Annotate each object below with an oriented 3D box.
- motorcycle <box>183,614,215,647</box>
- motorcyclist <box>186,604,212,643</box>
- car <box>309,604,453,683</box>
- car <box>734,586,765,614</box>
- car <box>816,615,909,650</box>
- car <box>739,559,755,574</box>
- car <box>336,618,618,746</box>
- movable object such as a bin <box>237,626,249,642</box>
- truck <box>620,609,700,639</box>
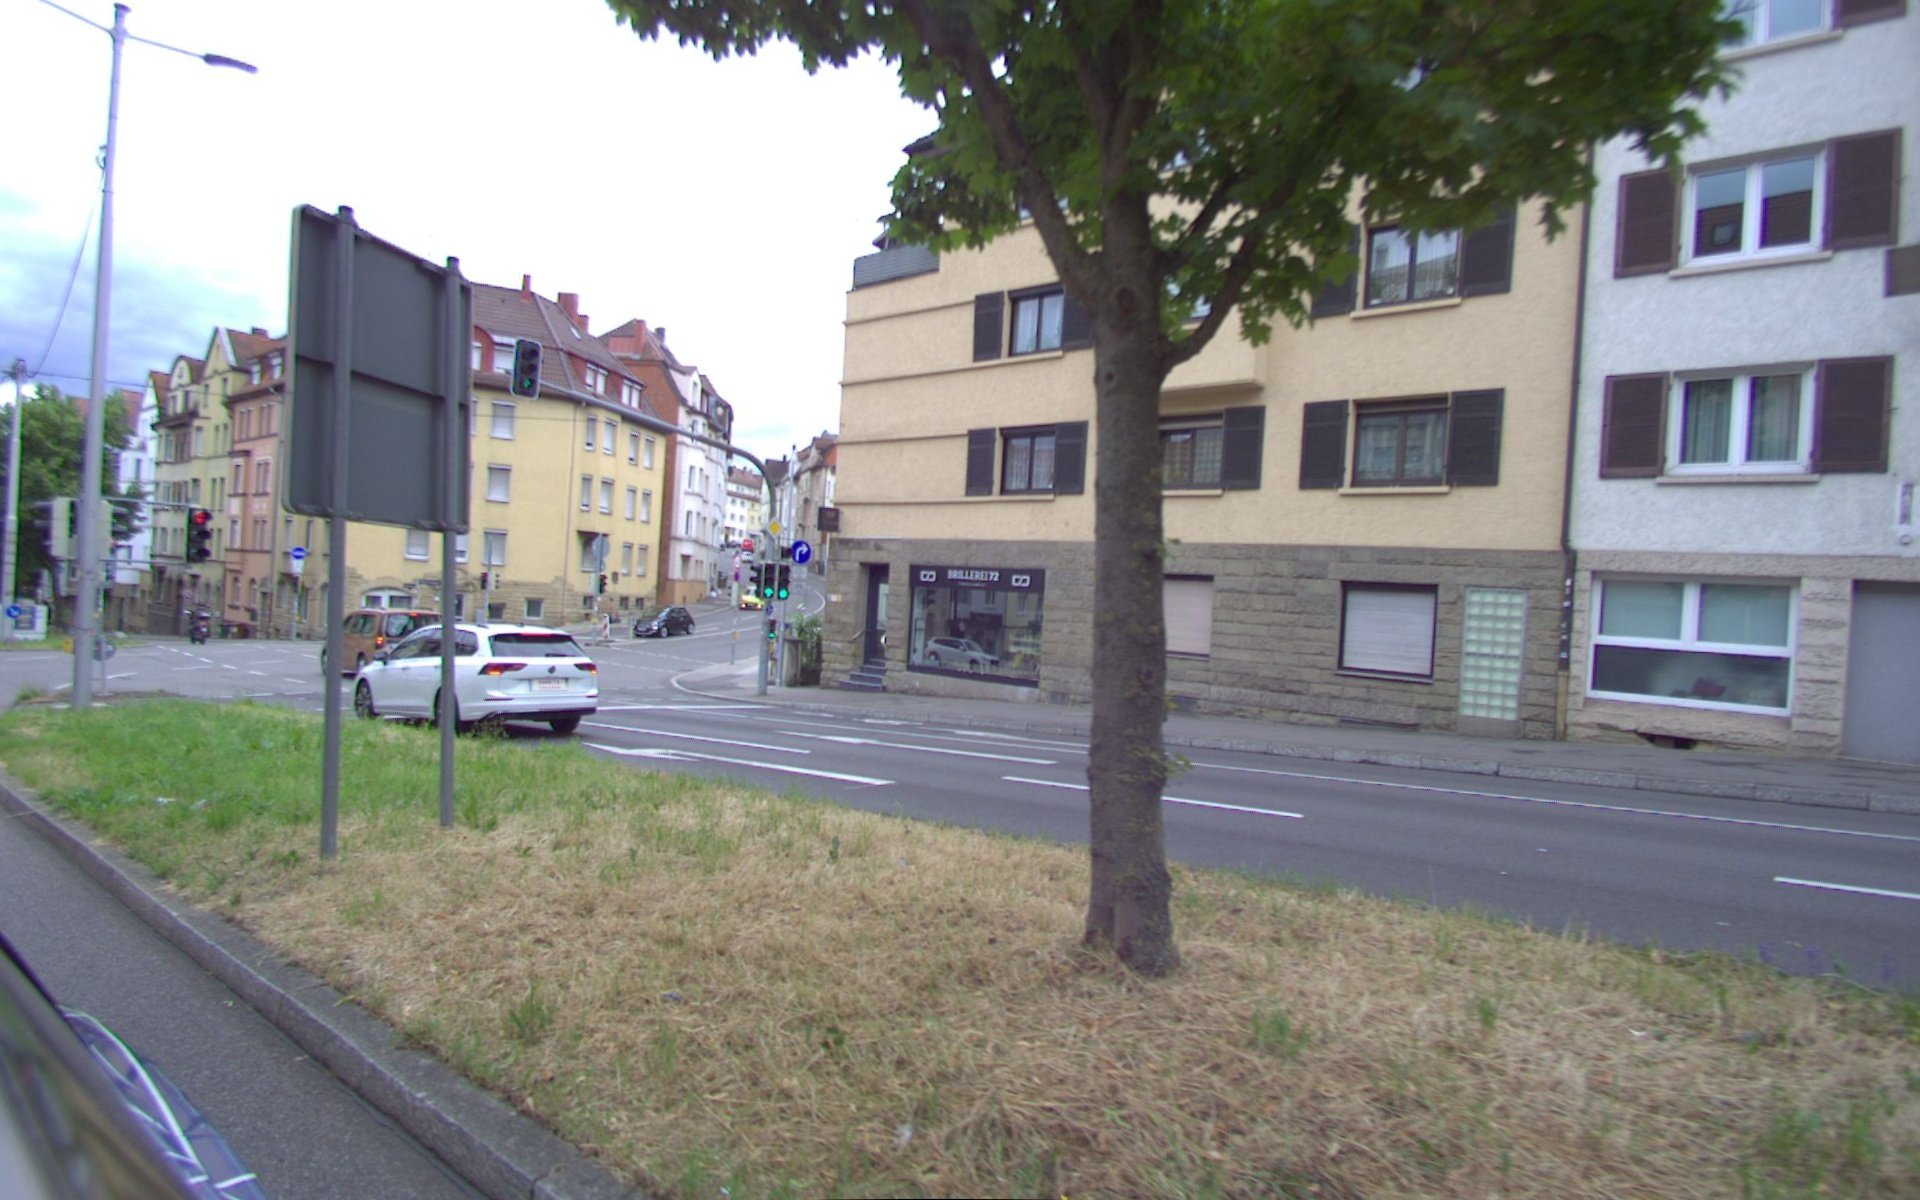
[{"bbox_3d":[-29.663,1.178,39.436,2.204,1.193,0.539,0,-2,42],"label":"motorcycle"},{"bbox_3d":[-29.670,0.906,39.454,0.662,1.486,0.665,0,-2,42],"label":"motorcyclist"},{"bbox_3d":[-14.743,1.114,25.697,4.349,1.830,1.860,-3,-4,41],"label":"car"},{"bbox_3d":[-14.577,0.029,70.256,1.833,1.734,3.862,1,-2,-8],"label":"car"},{"bbox_3d":[-4.541,1.505,47.464,4.238,1.476,1.683,1,3,-1],"label":"car"},{"bbox_3d":[-29.914,-4.697,141.979,1.831,1.734,3.866,1,-2,-16],"label":"car"},{"bbox_3d":[-6.765,1.013,13.955,4.582,1.478,1.728,-1,-3,40],"label":"car"},{"bbox_3d":[-40.391,1.903,57.001,0.480,0.871,0.449,4,-4,-44],"label":"movable object such as a bin"},{"bbox_3d":[-14.860,1.177,50.339,1.838,1.429,3.976,0,-1,18],"label":"truck"}]
